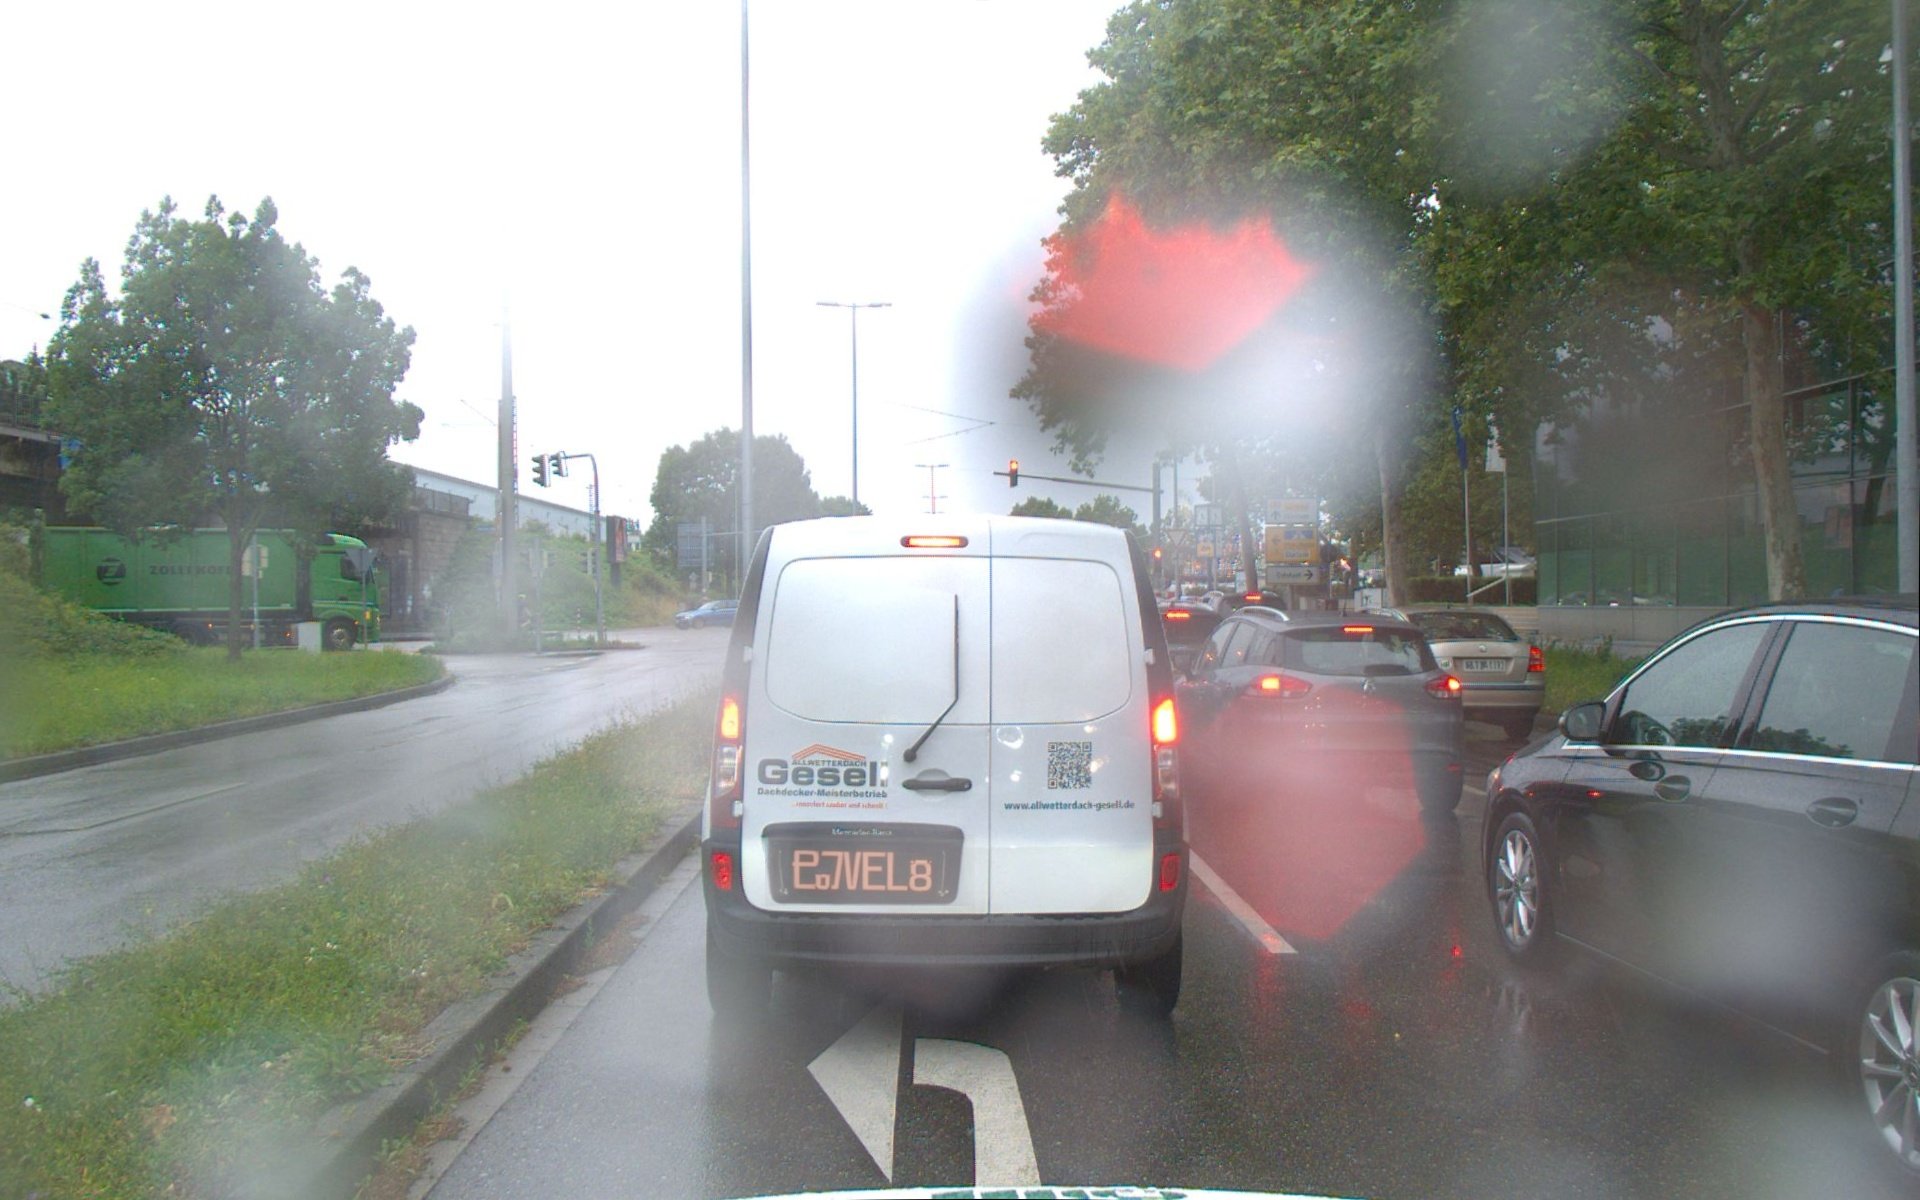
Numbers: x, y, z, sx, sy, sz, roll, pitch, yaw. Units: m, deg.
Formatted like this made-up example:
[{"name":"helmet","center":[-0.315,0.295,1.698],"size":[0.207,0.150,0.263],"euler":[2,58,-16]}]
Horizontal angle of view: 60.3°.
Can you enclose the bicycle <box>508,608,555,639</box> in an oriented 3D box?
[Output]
[{"name":"bicycle","center":[-14.350,0.764,55.344],"size":[1.027,0.968,2.866],"euler":[-1,1,-25]}]

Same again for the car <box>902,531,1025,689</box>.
[{"name":"car","center":[0.020,0.135,26.387],"size":[1.816,2.336,3.842],"euler":[0,0,-1]}]

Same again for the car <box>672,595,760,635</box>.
[{"name":"car","center":[-12.280,0.772,83.324],"size":[3.940,1.920,1.983],"euler":[1,1,-28]}]

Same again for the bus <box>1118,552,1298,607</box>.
[{"name":"bus","center":[16.601,-1.394,111.150],"size":[11.727,3.483,2.315],"euler":[-1,1,-1]}]

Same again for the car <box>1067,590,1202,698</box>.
[{"name":"car","center":[2.872,0.683,27.892],"size":[1.816,1.678,3.842],"euler":[0,0,-1]}]

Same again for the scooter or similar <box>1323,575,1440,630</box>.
[{"name":"scooter or similar","center":[19.672,0.102,77.358],"size":[1.878,2.489,5.239],"euler":[0,0,-41]}]

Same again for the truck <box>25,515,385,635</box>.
[{"name":"truck","center":[-23.194,-0.760,51.299],"size":[9.956,3.430,2.316],"euler":[0,0,-37]}]

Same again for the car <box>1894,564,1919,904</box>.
[{"name":"car","center":[5.752,0.676,6.510],"size":[1.676,1.724,4.271],"euler":[1,-1,-1]}]

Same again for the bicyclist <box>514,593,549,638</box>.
[{"name":"bicyclist","center":[-14.329,0.512,55.299],"size":[1.028,1.475,0.723],"euler":[-1,1,-26]}]

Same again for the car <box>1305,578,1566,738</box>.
[{"name":"car","center":[5.437,0.593,19.453],"size":[1.838,1.641,3.999],"euler":[2,1,-1]}]

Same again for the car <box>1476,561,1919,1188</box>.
[{"name":"car","center":[3.243,0.693,5.446],"size":[1.712,1.582,4.089],"euler":[0,0,-2]}]

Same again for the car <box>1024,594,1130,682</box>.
[{"name":"car","center":[2.307,0.735,33.546],"size":[1.816,1.678,3.842],"euler":[0,0,-1]}]

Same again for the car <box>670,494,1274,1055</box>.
[{"name":"car","center":[0.010,0.544,7.642],"size":[1.953,1.807,4.584],"euler":[0,0,-1]}]

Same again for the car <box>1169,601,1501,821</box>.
[{"name":"car","center":[2.783,0.754,13.108],"size":[1.649,1.433,3.842],"euler":[1,0,-2]}]

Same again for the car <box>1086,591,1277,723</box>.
[{"name":"car","center":[2.659,0.637,20.662],"size":[1.816,1.486,3.842],"euler":[0,0,-1]}]

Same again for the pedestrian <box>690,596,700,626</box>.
[{"name":"pedestrian","center":[-15.353,0.625,95.861],"size":[0.532,1.746,0.563],"euler":[1,-1,-5]}]

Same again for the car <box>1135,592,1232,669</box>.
[{"name":"car","center":[5.170,0.684,38.700],"size":[1.674,1.678,3.842],"euler":[1,0,-1]}]
